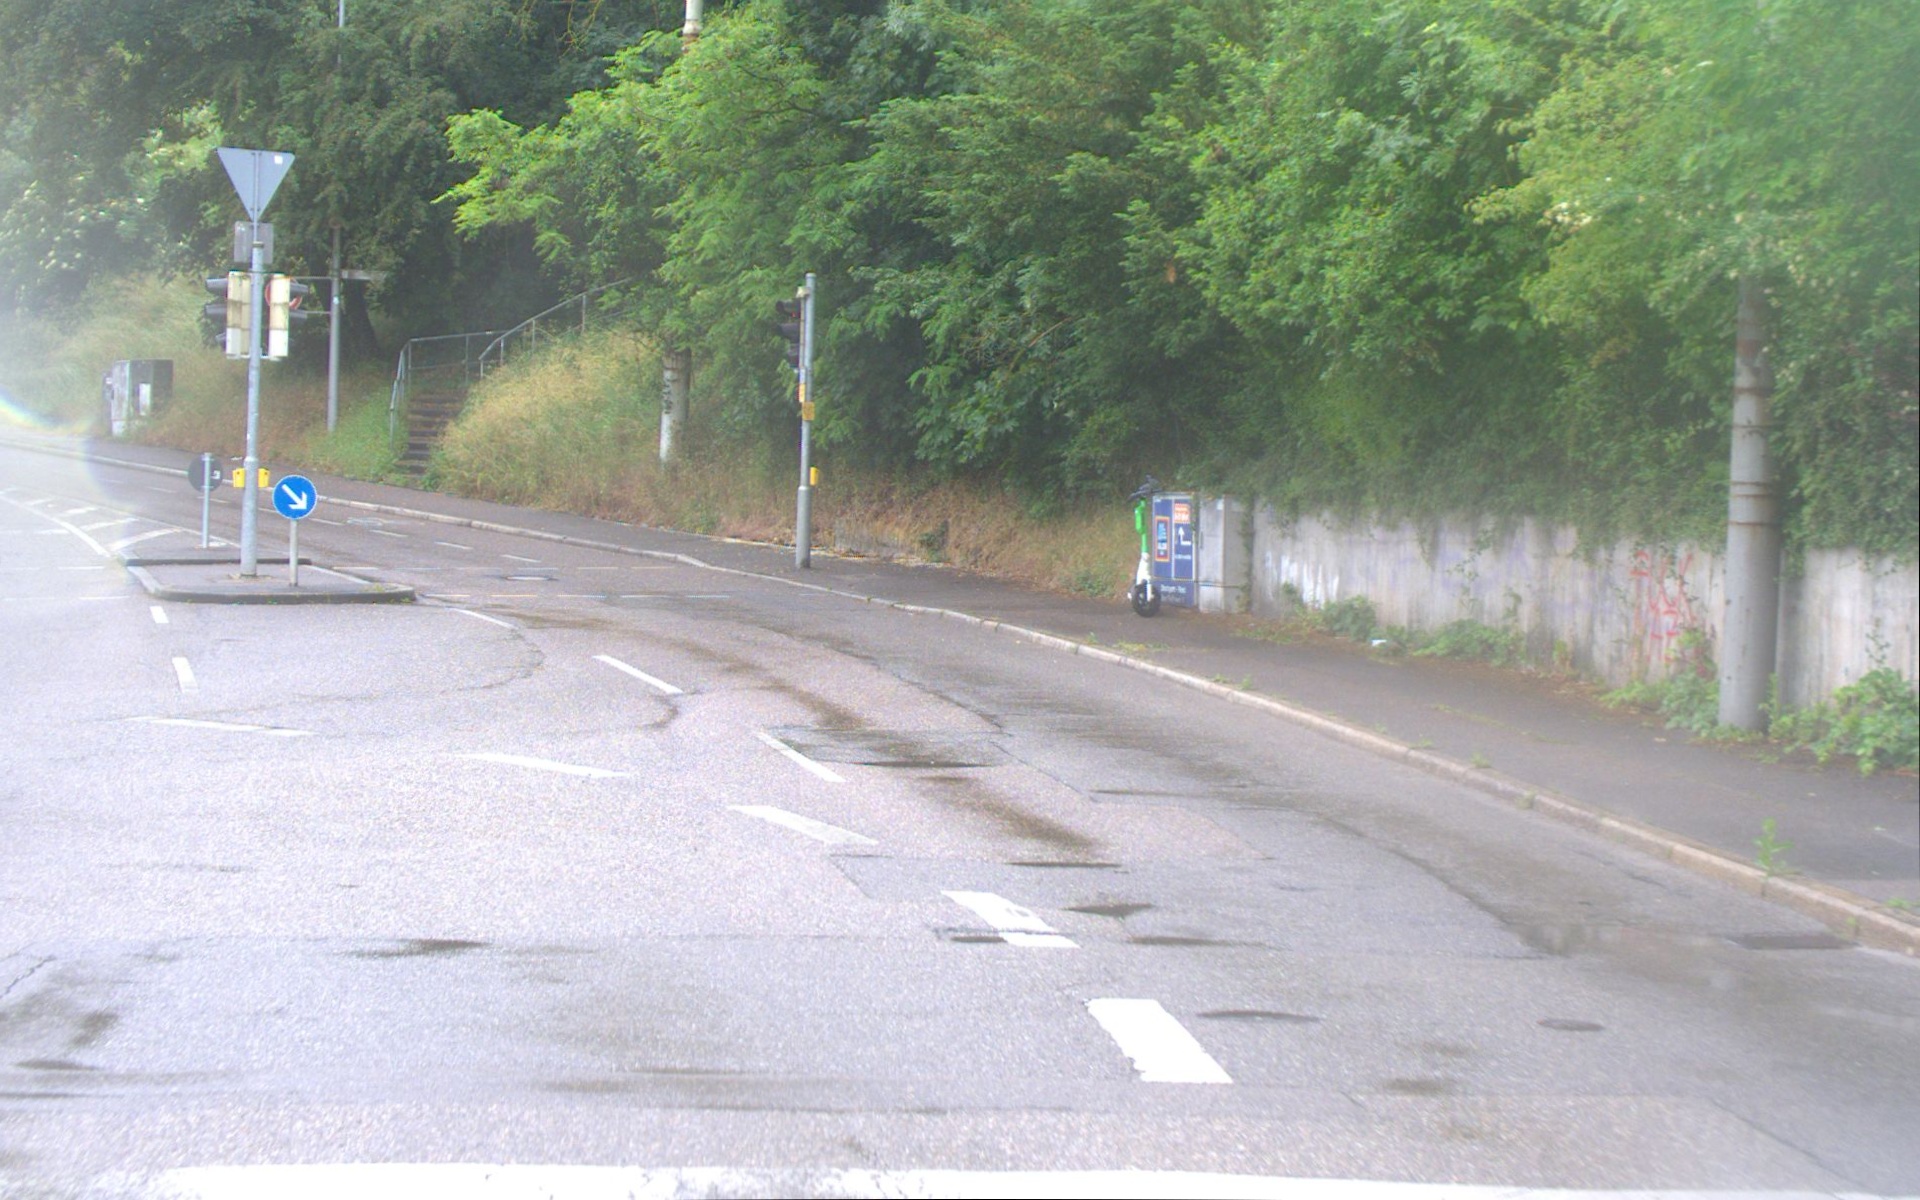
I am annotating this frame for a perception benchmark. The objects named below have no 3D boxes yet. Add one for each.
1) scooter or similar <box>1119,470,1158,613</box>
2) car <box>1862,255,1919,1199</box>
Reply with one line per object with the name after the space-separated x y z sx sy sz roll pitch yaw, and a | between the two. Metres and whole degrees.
1.648 -0.544 31.643 0.322 1.275 0.751 1 4 4 | scooter or similar
2.662 0.572 3.238 2.065 1.999 4.816 1 2 -4 | car
